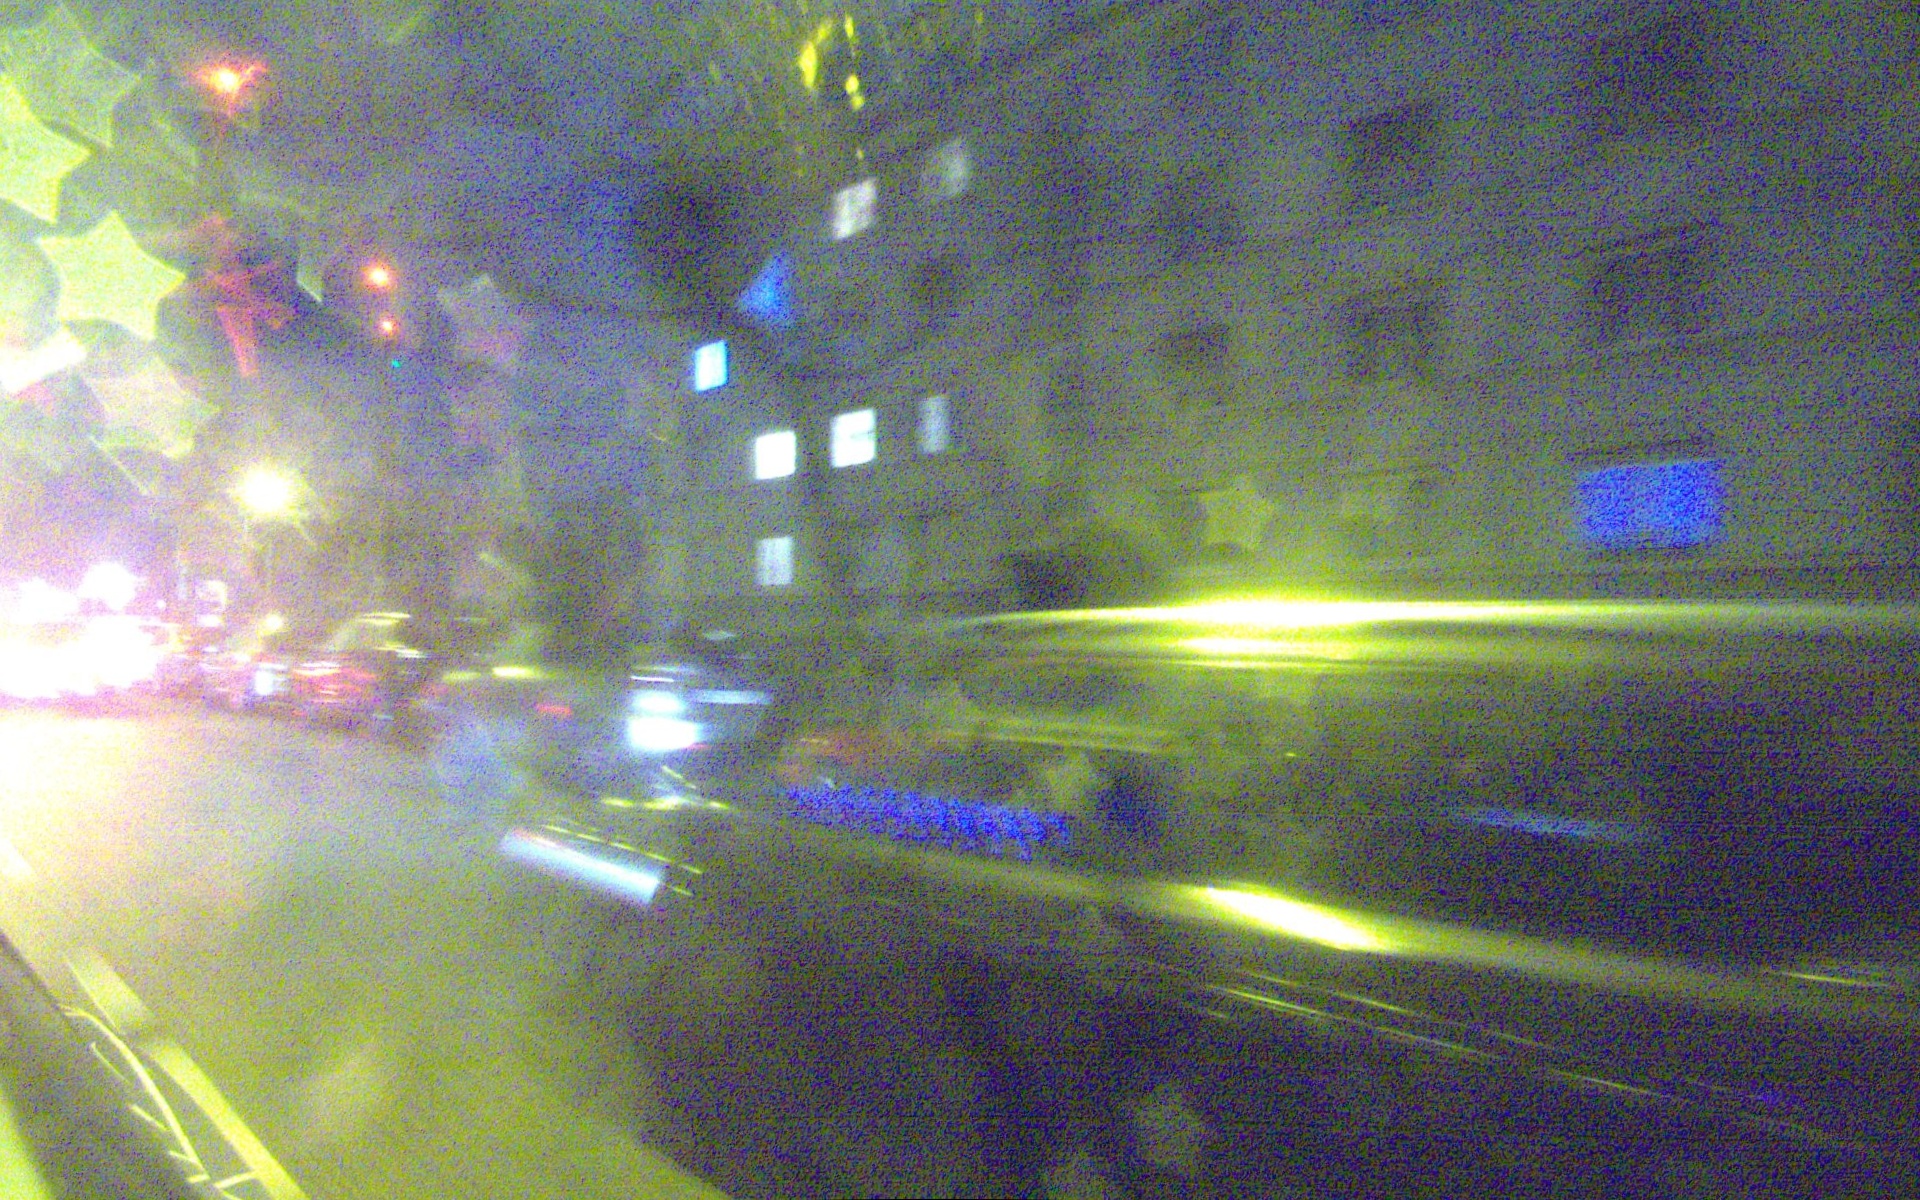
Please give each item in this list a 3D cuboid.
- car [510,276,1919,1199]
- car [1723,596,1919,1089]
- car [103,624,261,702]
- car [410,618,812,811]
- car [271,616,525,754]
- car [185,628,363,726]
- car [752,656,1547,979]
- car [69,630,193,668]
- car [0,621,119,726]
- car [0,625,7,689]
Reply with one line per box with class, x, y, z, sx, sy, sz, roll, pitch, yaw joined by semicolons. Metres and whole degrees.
car;0.772;0.526;2.353;4.370;1.552;1.687;-3;-5;43
car;4.750;0.755;2.786;4.058;1.552;1.687;-3;-5;43
car;-16.392;1.318;21.245;4.544;1.484;1.607;-3;-5;40
car;-3.574;1.008;9.925;4.394;1.484;1.776;-3;-5;42
car;-7.603;1.093;13.542;3.960;1.585;1.607;-2;-6;41
car;-11.802;1.284;17.314;3.963;1.484;1.606;-3;-5;43
car;0.816;1.010;6.327;4.638;1.278;1.818;-3;-5;44
car;-40.782;2.458;49.931;4.472;1.719;1.855;3;-5;-34
car;-15.787;1.187;16.949;4.682;1.560;2.017;-3;-3;43
car;-26.562;1.478;26.585;4.548;1.609;1.865;-3;-5;43
